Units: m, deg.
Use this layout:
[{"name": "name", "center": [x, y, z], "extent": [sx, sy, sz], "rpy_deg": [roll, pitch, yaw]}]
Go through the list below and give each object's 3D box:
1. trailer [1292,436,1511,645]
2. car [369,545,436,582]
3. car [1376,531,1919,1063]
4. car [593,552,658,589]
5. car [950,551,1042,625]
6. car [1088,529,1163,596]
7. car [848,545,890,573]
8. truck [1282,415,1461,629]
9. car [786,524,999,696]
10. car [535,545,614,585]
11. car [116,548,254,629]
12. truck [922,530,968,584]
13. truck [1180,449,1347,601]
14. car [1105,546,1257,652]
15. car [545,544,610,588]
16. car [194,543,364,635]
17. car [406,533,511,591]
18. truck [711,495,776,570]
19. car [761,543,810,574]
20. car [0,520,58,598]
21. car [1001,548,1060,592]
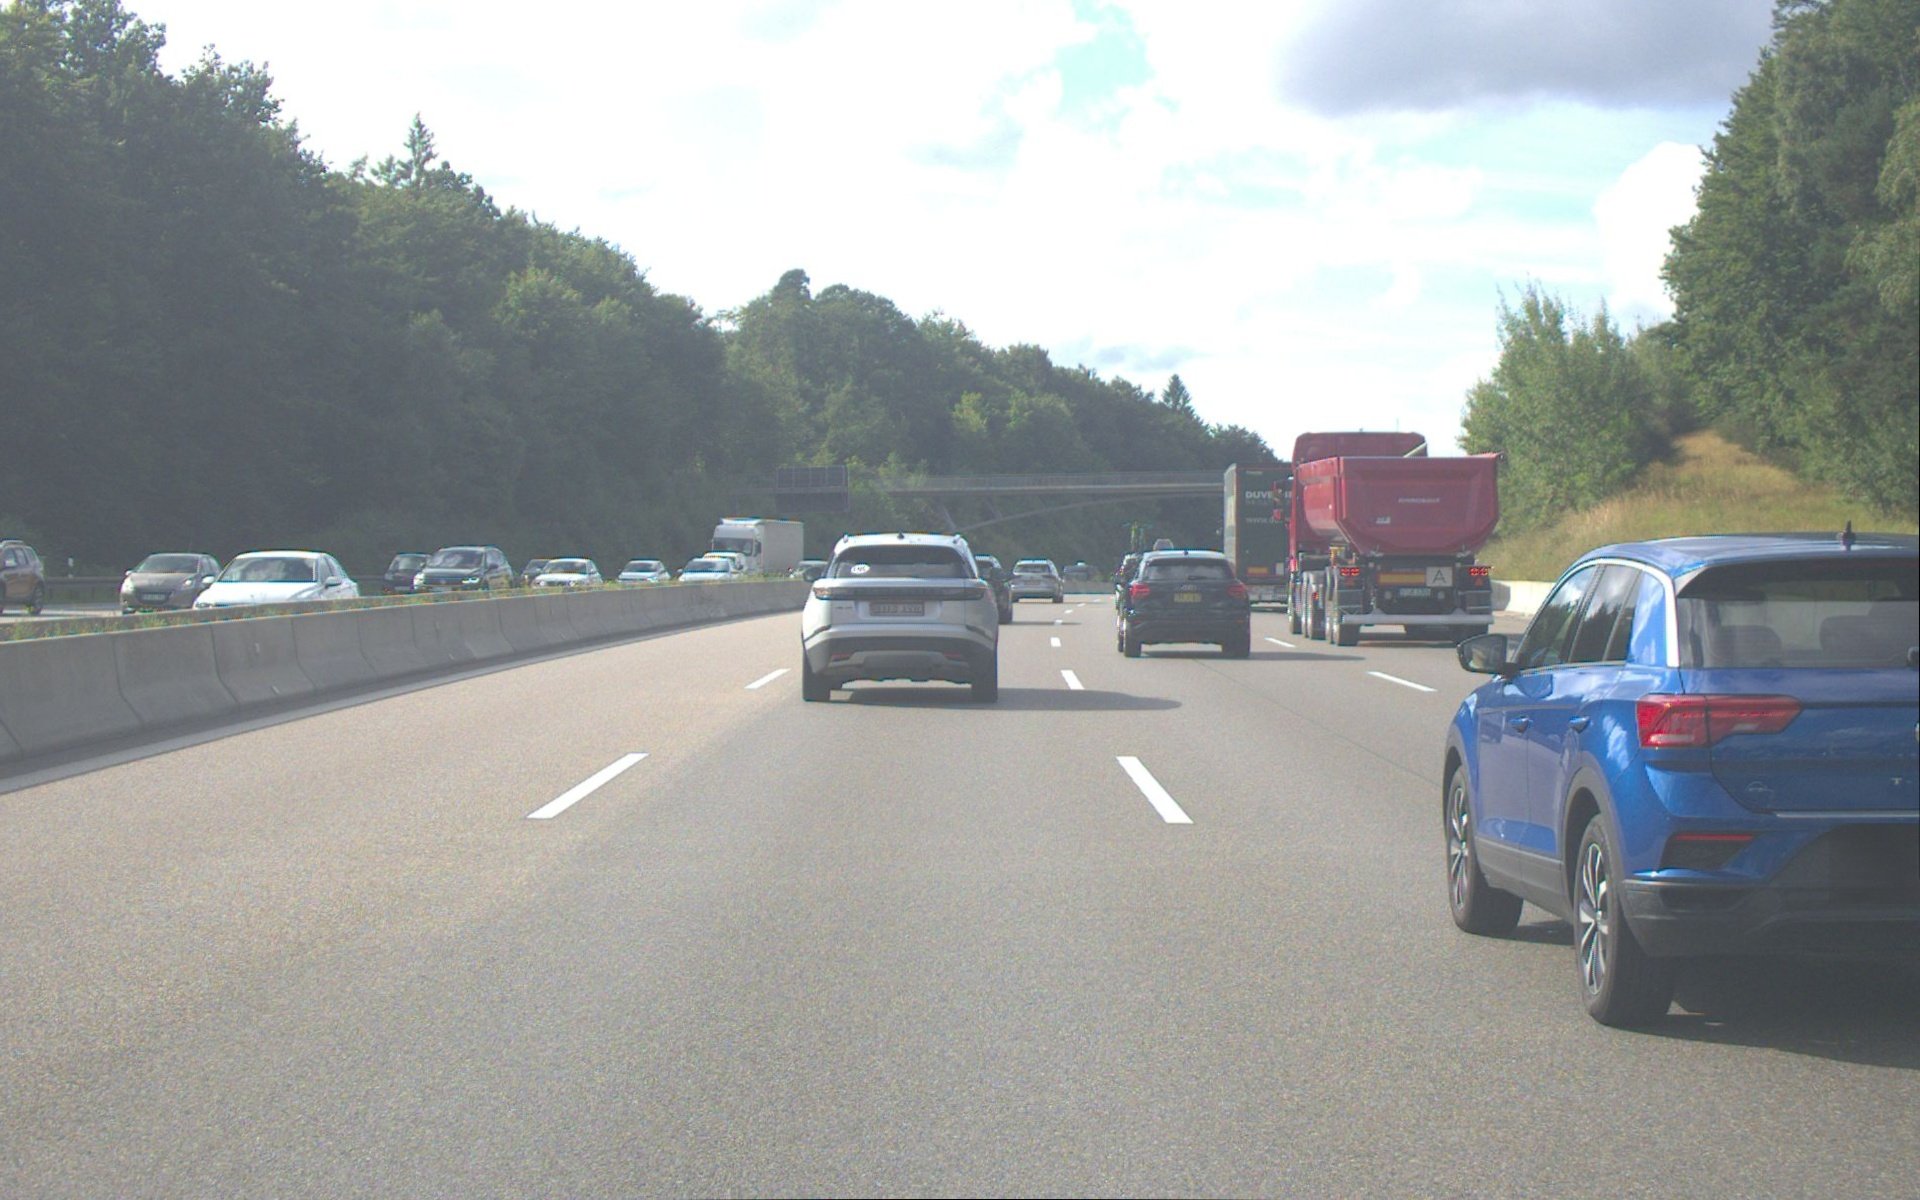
[{"name": "trailer", "center": [7.312, -1.004, 58.142], "extent": [2.710, 3.220, 9.732], "rpy_deg": [0, 1, 2]}, {"name": "car", "center": [-18.731, -1.222, 115.555], "extent": [1.494, 1.208, 3.269], "rpy_deg": [1, 1, 5]}, {"name": "car", "center": [2.728, 0.529, 12.118], "extent": [1.773, 1.525, 4.458], "rpy_deg": [0, 1, -3]}, {"name": "car", "center": [-14.086, -1.266, 144.946], "extent": [2.071, 1.468, 4.671], "rpy_deg": [1, 1, 2]}, {"name": "car", "center": [0.806, -0.281, 74.398], "extent": [1.822, 1.541, 4.000], "rpy_deg": [1, 1, 3]}, {"name": "car", "center": [4.695, -1.090, 97.777], "extent": [1.893, 1.850, 4.101], "rpy_deg": [0, 1, 0]}, {"name": "car", "center": [-4.946, -2.219, 187.414], "extent": [1.848, 1.493, 4.128], "rpy_deg": [1, 1, 5]}, {"name": "truck", "center": [7.450, -1.414, 62.873], "extent": [2.710, 3.706, 5.817], "rpy_deg": [0, 1, 2]}, {"name": "car", "center": [-0.629, 0.051, 35.211], "extent": [2.006, 1.611, 5.301], "rpy_deg": [1, 1, 0]}, {"name": "car", "center": [-11.960, -1.106, 106.836], "extent": [1.647, 1.196, 4.439], "rpy_deg": [0, 1, 4]}, {"name": "car", "center": [-17.089, -0.288, 75.959], "extent": [1.928, 1.710, 4.423], "rpy_deg": [0, 1, 2]}, {"name": "truck", "center": [-1.064, -3.147, 248.360], "extent": [2.777, 3.797, 7.133], "rpy_deg": [0, 1, 4]}, {"name": "truck", "center": [8.241, -2.044, 94.816], "extent": [3.118, 3.921, 10.412], "rpy_deg": [0, 1, -3]}, {"name": "car", "center": [3.135, -0.046, 49.448], "extent": [1.822, 1.452, 4.000], "rpy_deg": [0, 1, -1]}, {"name": "car", "center": [-16.038, -1.447, 144.380], "extent": [1.994, 1.831, 4.729], "rpy_deg": [0, 1, 3]}, {"name": "car", "center": [-10.230, -0.202, 51.933], "extent": [1.723, 1.305, 4.882], "rpy_deg": [0, 1, -2]}, {"name": "car", "center": [-13.125, -1.020, 90.201], "extent": [1.722, 1.474, 4.630], "rpy_deg": [1, 1, 5]}, {"name": "truck", "center": [-11.931, -3.721, 190.092], "extent": [2.707, 4.054, 6.597], "rpy_deg": [0, 1, 4]}, {"name": "car", "center": [-8.549, -2.058, 168.745], "extent": [1.848, 1.492, 4.128], "rpy_deg": [1, 1, 4]}, {"name": "car", "center": [-21.939, -0.941, 77.265], "extent": [1.928, 1.710, 4.422], "rpy_deg": [0, 1, 4]}, {"name": "car", "center": [2.422, -1.016, 117.194], "extent": [1.822, 1.452, 4.000], "rpy_deg": [0, 0, 4]}]
